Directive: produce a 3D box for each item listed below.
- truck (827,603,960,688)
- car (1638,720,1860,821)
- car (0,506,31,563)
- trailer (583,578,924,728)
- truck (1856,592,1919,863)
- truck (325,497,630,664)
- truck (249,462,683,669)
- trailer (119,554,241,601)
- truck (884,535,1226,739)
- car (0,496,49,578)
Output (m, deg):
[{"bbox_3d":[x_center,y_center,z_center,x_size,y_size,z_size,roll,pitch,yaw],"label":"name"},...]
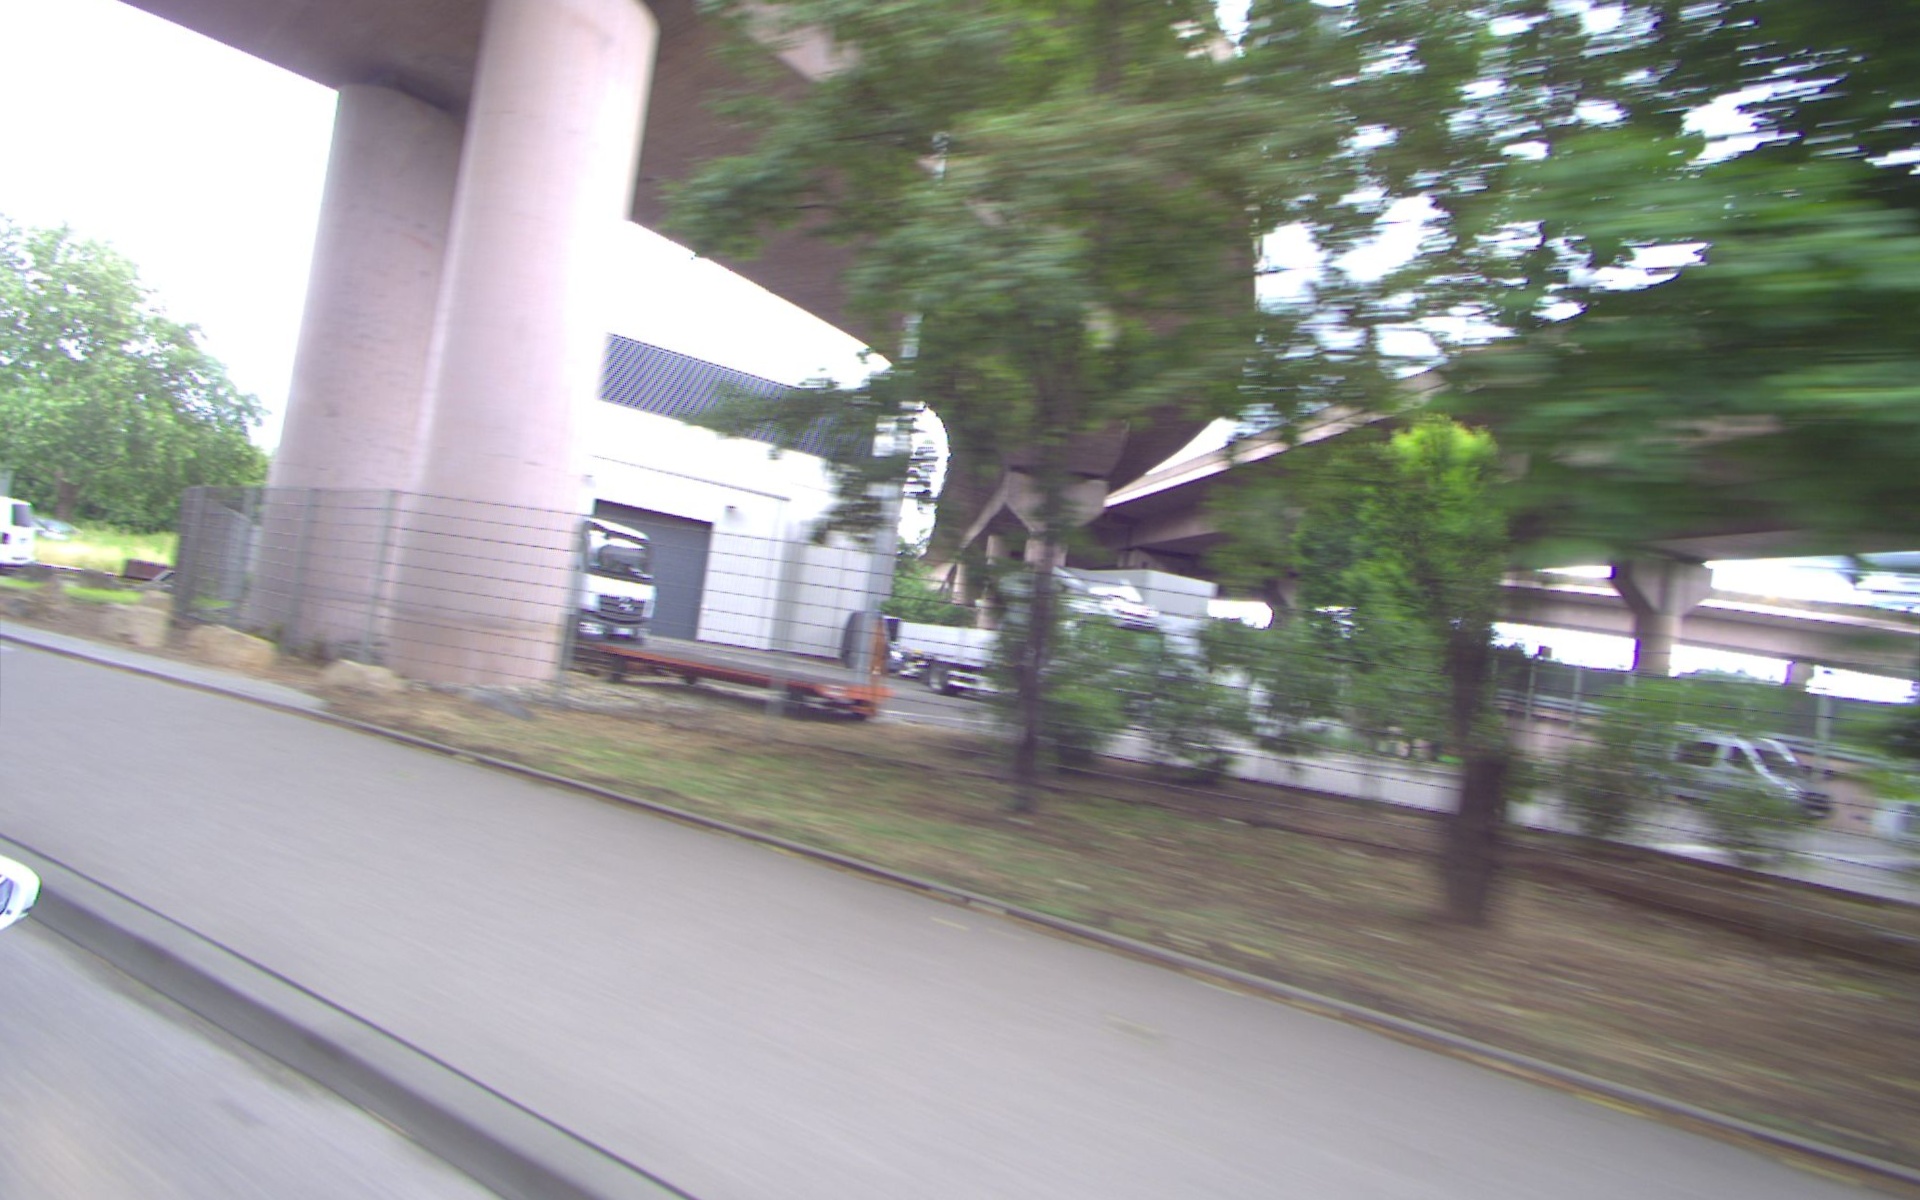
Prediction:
[{"bbox_3d":[-3.156,1.971,45.294,3.019,2.964,6.883,10,-3,-28],"label":"truck"},{"bbox_3d":[25.149,5.372,32.371,2.301,2.235,5.155,9,-3,-13],"label":"car"},{"bbox_3d":[-30.055,-2.238,29.070,4.322,1.605,1.760,10,-3,-33],"label":"car"},{"bbox_3d":[-2.748,0.643,13.014,4.311,1.346,1.603,6,-2,32],"label":"trailer"},{"bbox_3d":[15.921,1.964,9.936,2.248,3.538,10.138,8,-2,-31],"label":"truck"},{"bbox_3d":[-11.223,-0.426,23.516,6.003,2.918,2.463,8,-2,17],"label":"truck"},{"bbox_3d":[-9.314,-0.605,19.212,7.098,2.774,2.429,8,-2,11],"label":"truck"},{"bbox_3d":[-21.442,-0.608,27.767,2.539,0.909,1.469,9,-3,-36],"label":"trailer"},{"bbox_3d":[2.152,0.809,28.533,3.878,4.413,10.054,10,-3,-31],"label":"truck"},{"bbox_3d":[-25.956,-1.908,24.806,4.627,1.978,1.883,10,-2,-26],"label":"car"}]
